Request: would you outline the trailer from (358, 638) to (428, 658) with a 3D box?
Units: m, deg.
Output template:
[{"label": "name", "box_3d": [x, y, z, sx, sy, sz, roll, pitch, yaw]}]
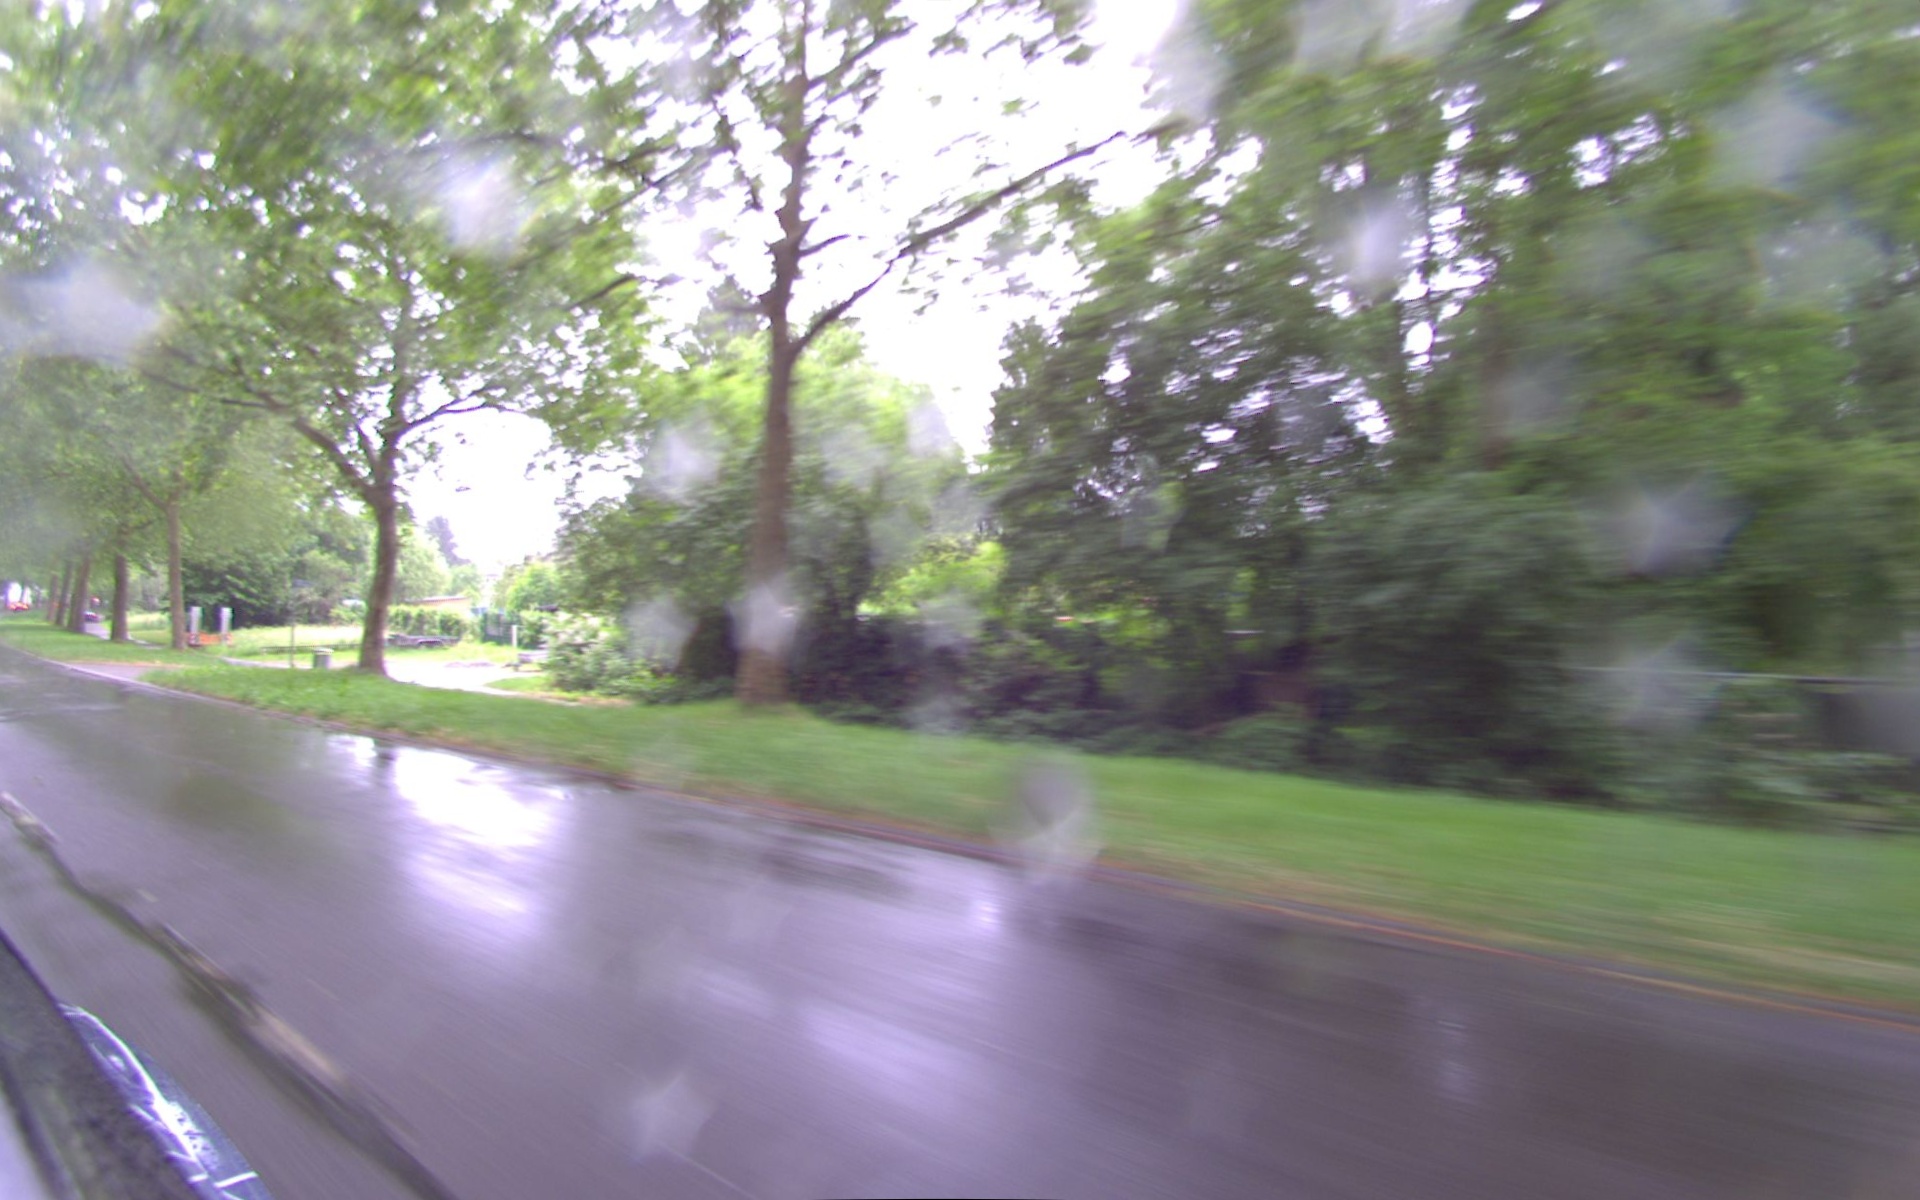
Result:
[{"label": "trailer", "box_3d": [-31.562, 2.652, 56.344, 1.769, 0.952, 3.041, 0, 0, 43]}]

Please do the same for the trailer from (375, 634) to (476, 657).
[{"label": "trailer", "box_3d": [-28.767, 2.422, 54.545, 2.382, 1.040, 4.270, 0, 0, 42]}]

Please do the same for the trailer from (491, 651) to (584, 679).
[{"label": "trailer", "box_3d": [-16.599, 2.537, 39.816, 2.993, 0.844, 1.679, 0, 0, -44]}]

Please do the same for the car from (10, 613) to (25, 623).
[{"label": "car", "box_3d": [-147.123, 2.814, 157.996, 3.374, 1.464, 1.572, 0, 0, 44]}]

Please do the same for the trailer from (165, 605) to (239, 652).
[{"label": "trailer", "box_3d": [-46.436, 1.664, 61.942, 2.766, 2.684, 6.657, 0, 0, -45]}]
